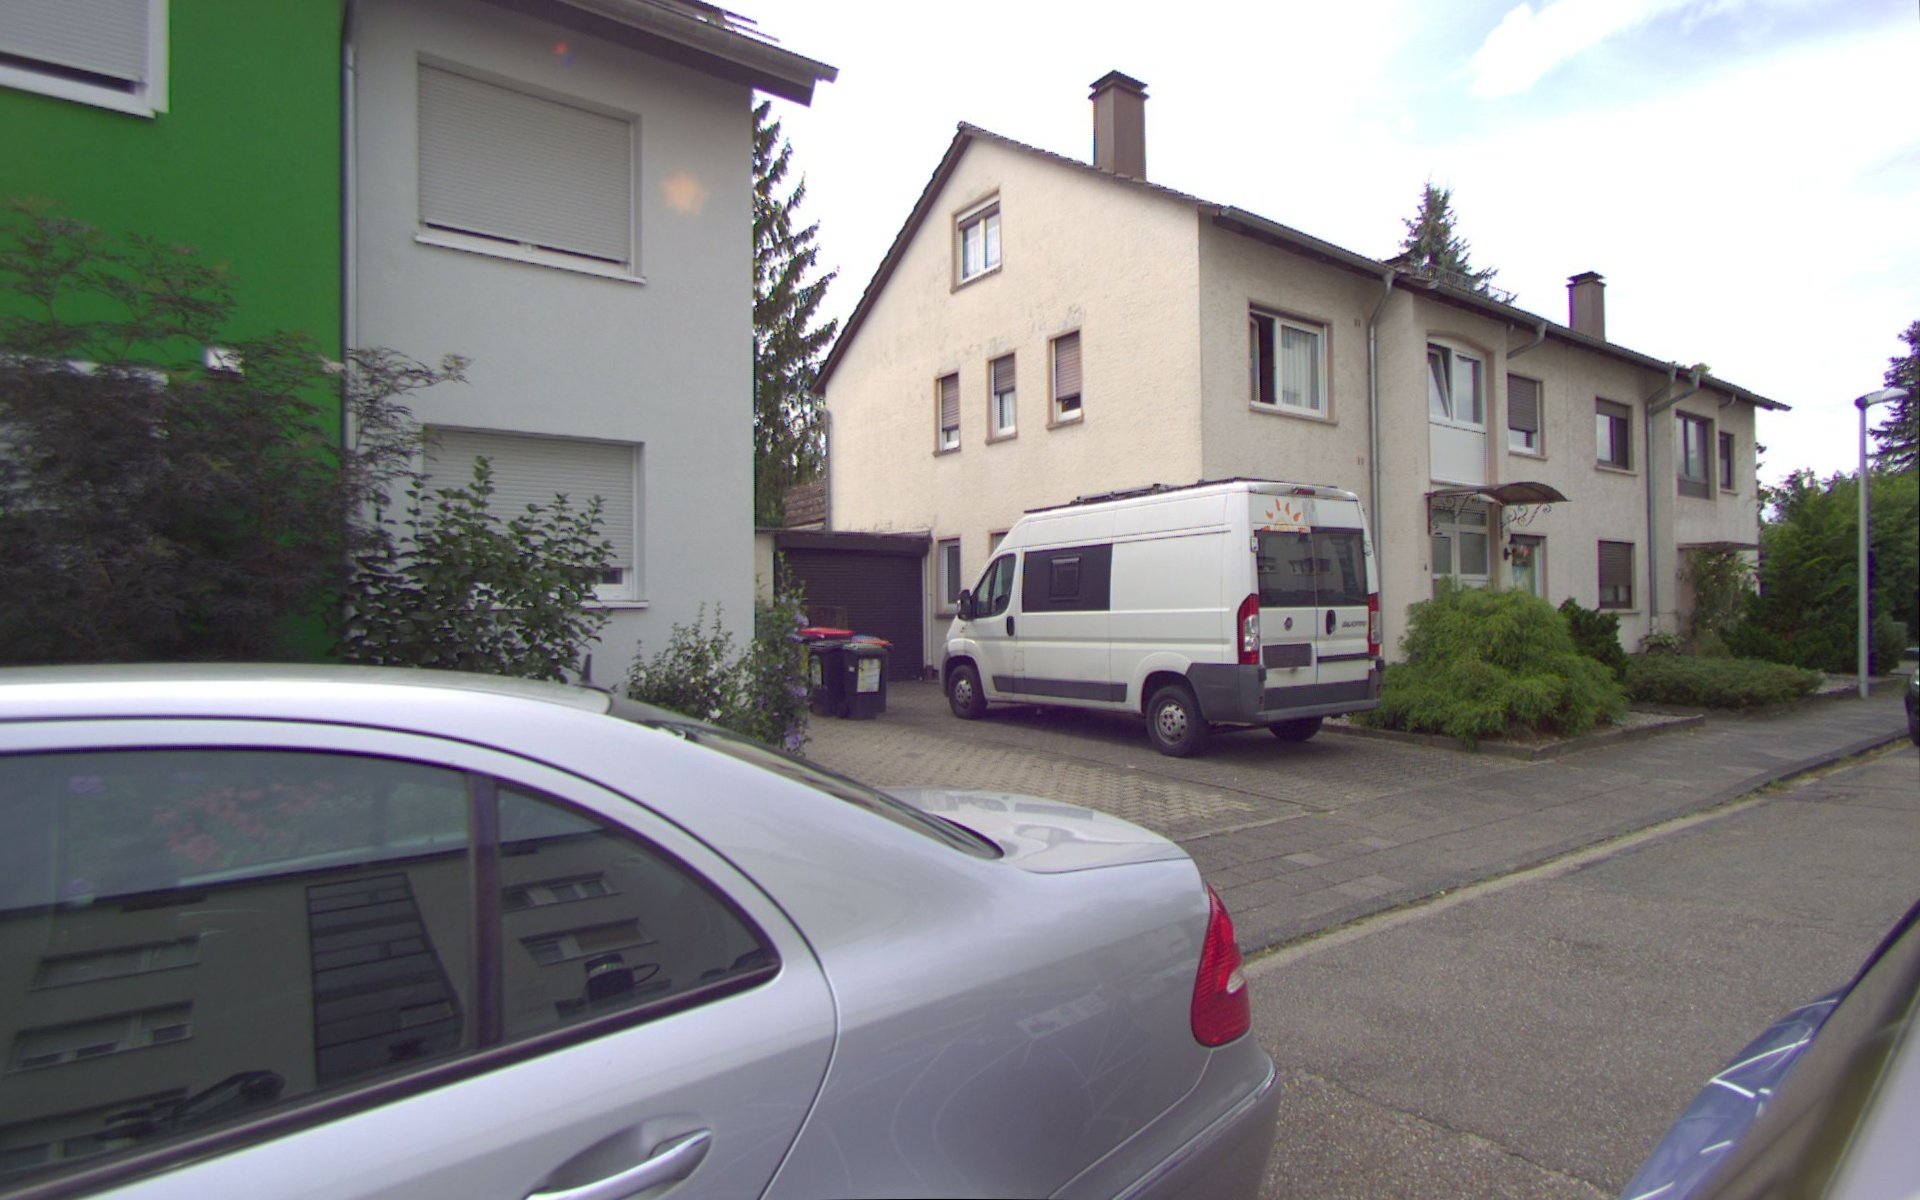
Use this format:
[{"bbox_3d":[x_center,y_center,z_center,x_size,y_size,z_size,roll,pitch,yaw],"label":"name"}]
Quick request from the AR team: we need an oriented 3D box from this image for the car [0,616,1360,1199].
[{"bbox_3d":[-1.635,0.788,1.219,4.370,1.439,1.789,0,-2,-34],"label":"car"}]

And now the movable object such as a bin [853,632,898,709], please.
[{"bbox_3d":[-1.092,0.897,13.051,0.394,0.937,0.450,0,1,-36],"label":"movable object such as a bin"}]

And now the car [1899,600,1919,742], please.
[{"bbox_3d":[12.049,0.714,11.138,4.113,1.476,1.833,0,-2,-38],"label":"car"}]

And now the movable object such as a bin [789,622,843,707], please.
[{"bbox_3d":[-1.871,0.819,13.124,0.536,1.045,0.456,0,1,-36],"label":"movable object such as a bin"}]

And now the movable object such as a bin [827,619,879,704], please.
[{"bbox_3d":[-1.422,0.803,13.461,0.536,1.069,0.456,0,1,-36],"label":"movable object such as a bin"}]

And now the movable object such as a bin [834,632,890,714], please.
[{"bbox_3d":[-1.201,0.879,12.361,0.473,0.937,0.521,0,1,-36],"label":"movable object such as a bin"}]

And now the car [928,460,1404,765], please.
[{"bbox_3d":[1.951,0.072,11.275,2.195,2.574,5.105,0,1,-35],"label":"car"}]

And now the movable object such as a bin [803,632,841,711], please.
[{"bbox_3d":[-1.730,0.888,12.664,0.332,0.937,0.356,0,1,-36],"label":"movable object such as a bin"}]
